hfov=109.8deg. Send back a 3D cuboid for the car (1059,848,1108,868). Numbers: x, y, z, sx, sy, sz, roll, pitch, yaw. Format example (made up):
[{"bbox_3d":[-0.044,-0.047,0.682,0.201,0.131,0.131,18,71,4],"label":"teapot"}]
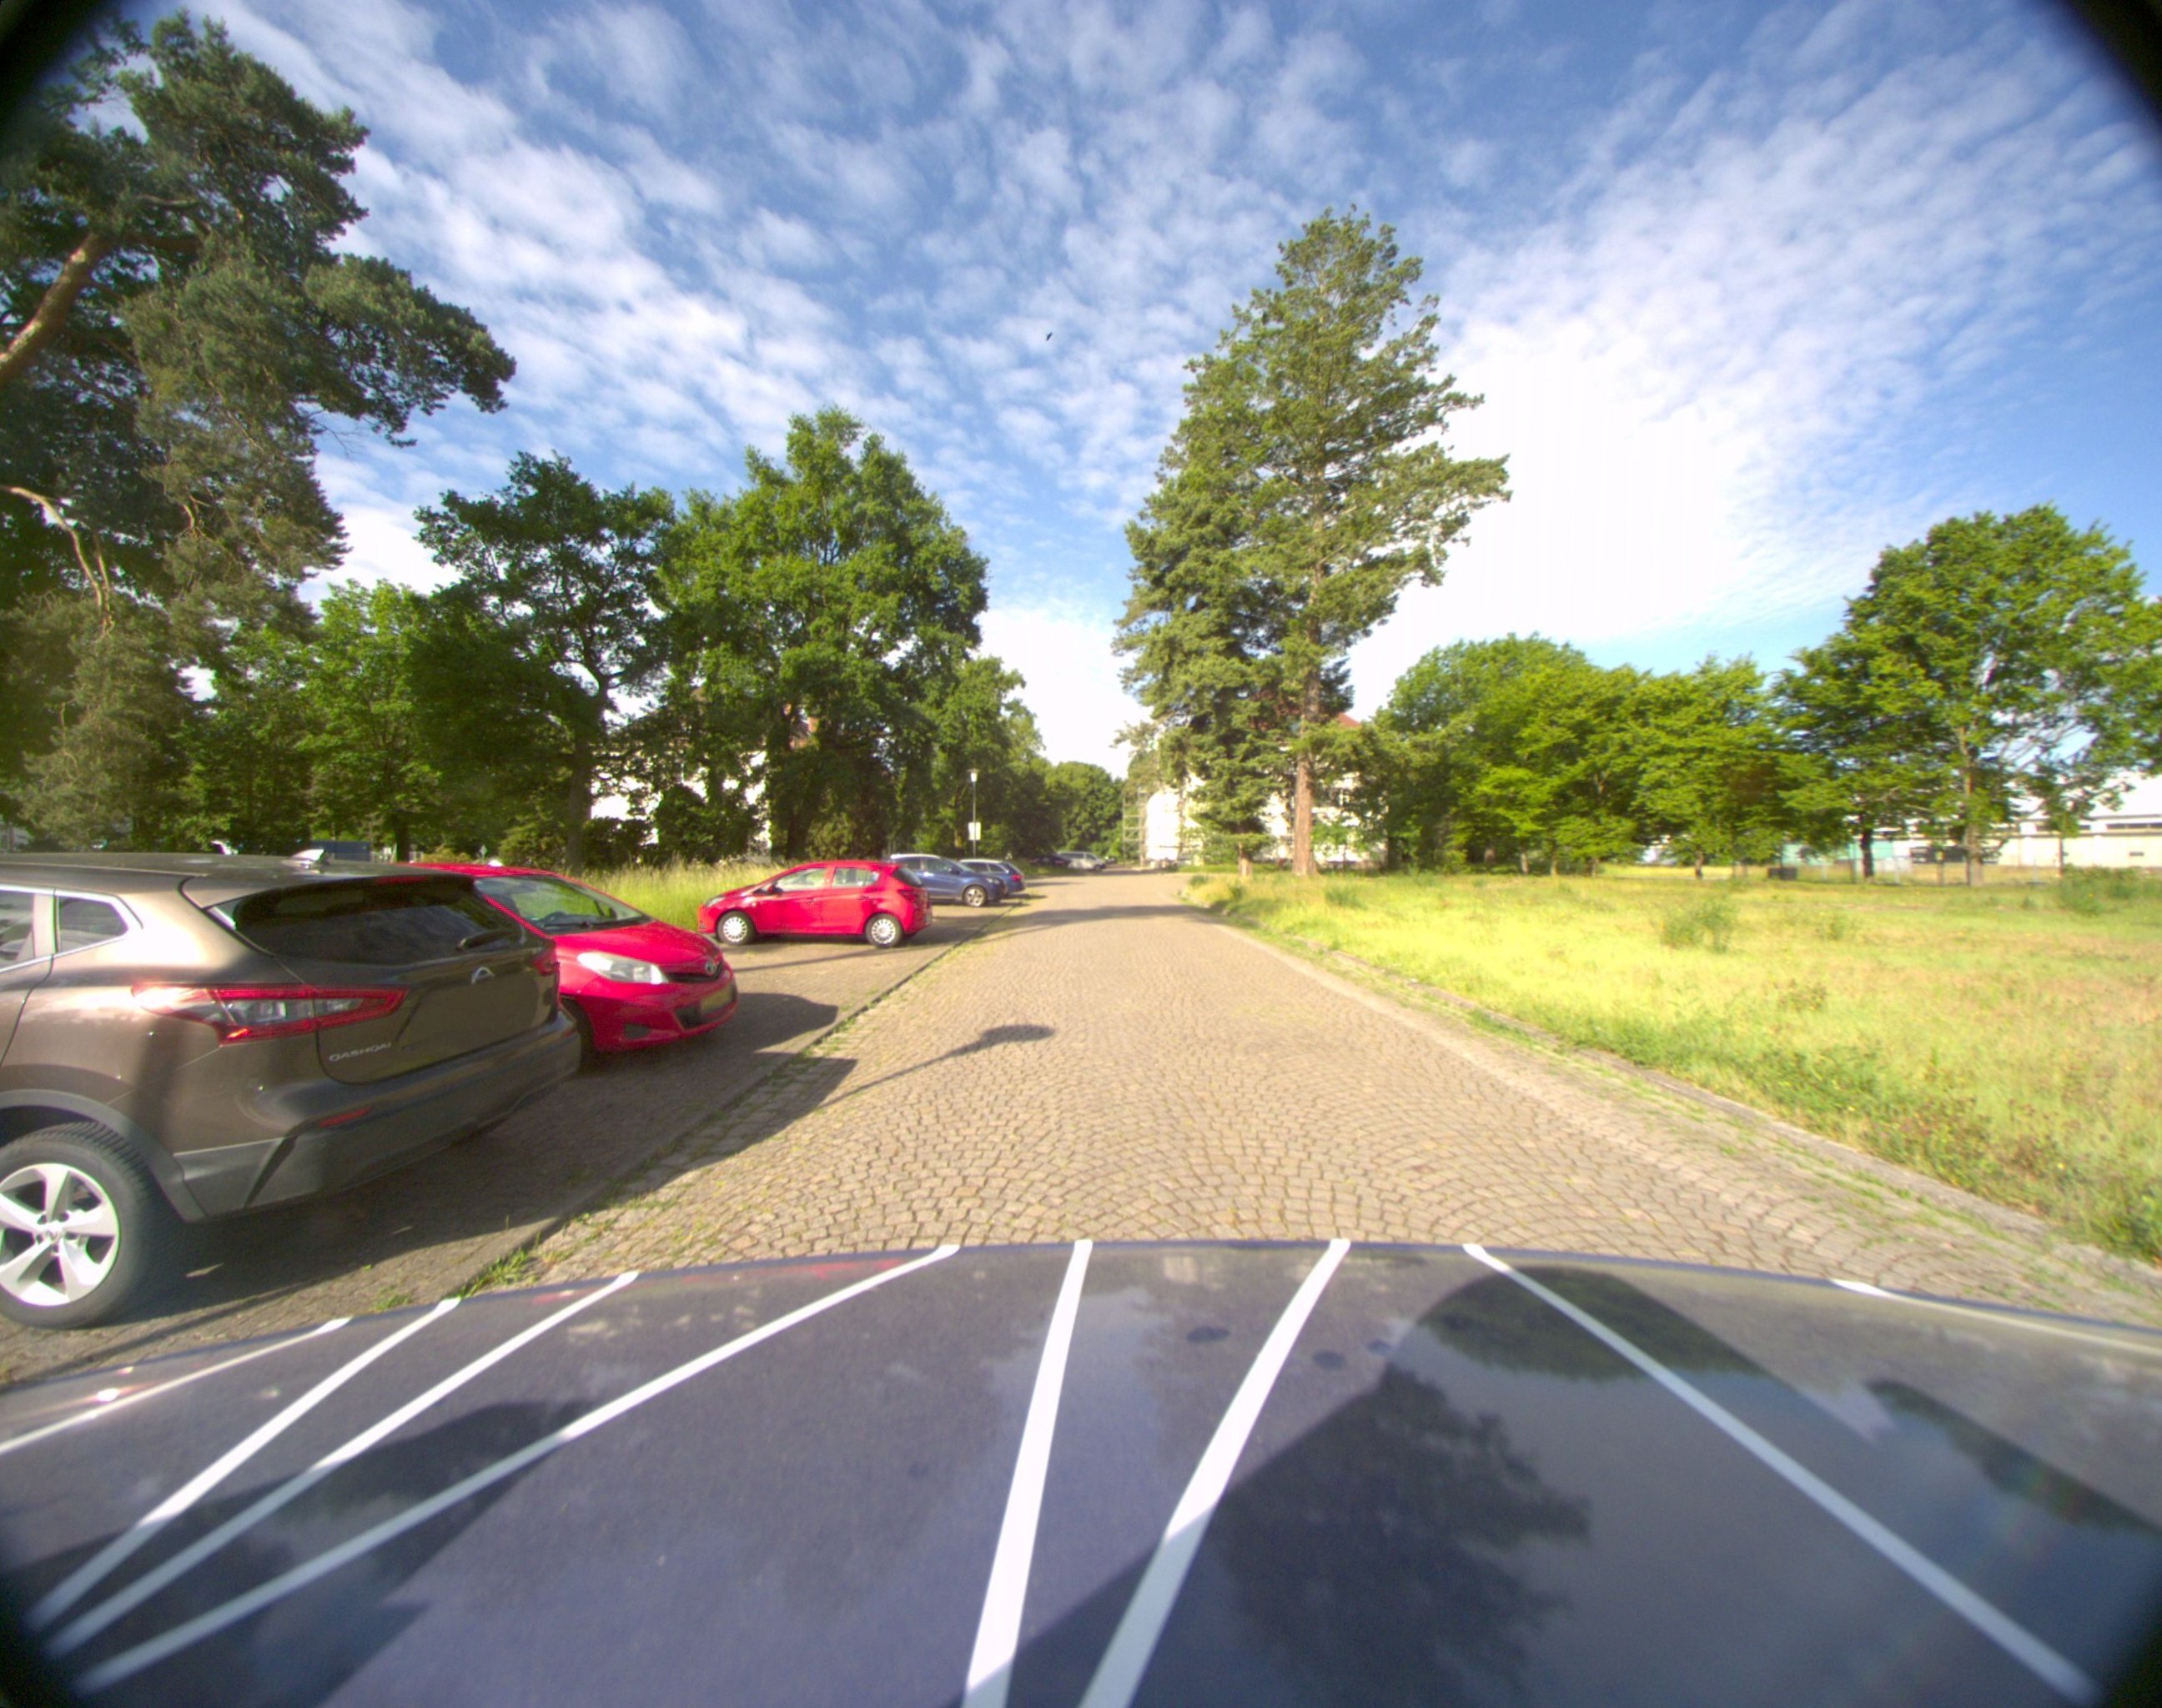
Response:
[{"bbox_3d":[0.264,0.452,77.355,4.936,2.002,2.000,0,0,1],"label":"car"}]

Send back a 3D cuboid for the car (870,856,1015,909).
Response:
[{"bbox_3d":[-4.260,0.871,23.835,4.187,1.581,1.751,0,0,0],"label":"car"}]

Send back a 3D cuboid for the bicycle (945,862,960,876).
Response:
[{"bbox_3d":[-9.659,1.097,57.160,0.710,1.010,1.257,0,0,8],"label":"bicycle"}]

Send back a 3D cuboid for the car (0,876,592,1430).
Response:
[{"bbox_3d":[-4.581,0.929,3.141,3.946,1.612,1.771,0,0,-1],"label":"car"}]

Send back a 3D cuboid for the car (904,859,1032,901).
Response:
[{"bbox_3d":[-4.167,0.942,28.505,4.459,1.399,1.714,1,0,3],"label":"car"}]

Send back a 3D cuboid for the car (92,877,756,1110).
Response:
[{"bbox_3d":[-4.787,0.965,5.943,3.772,1.521,1.645,0,0,1],"label":"car"}]

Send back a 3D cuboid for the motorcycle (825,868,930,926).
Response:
[{"bbox_3d":[-4.817,1.011,18.087,2.305,1.312,0.726,1,0,0],"label":"motorcycle"}]

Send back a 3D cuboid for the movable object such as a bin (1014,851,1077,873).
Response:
[{"bbox_3d":[-3.009,0.662,64.380,4.931,1.749,2.002,0,0,15],"label":"movable object such as a bin"}]

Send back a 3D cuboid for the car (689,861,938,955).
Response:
[{"bbox_3d":[-4.626,0.913,13.548,3.837,1.470,1.645,1,0,-1],"label":"car"}]
